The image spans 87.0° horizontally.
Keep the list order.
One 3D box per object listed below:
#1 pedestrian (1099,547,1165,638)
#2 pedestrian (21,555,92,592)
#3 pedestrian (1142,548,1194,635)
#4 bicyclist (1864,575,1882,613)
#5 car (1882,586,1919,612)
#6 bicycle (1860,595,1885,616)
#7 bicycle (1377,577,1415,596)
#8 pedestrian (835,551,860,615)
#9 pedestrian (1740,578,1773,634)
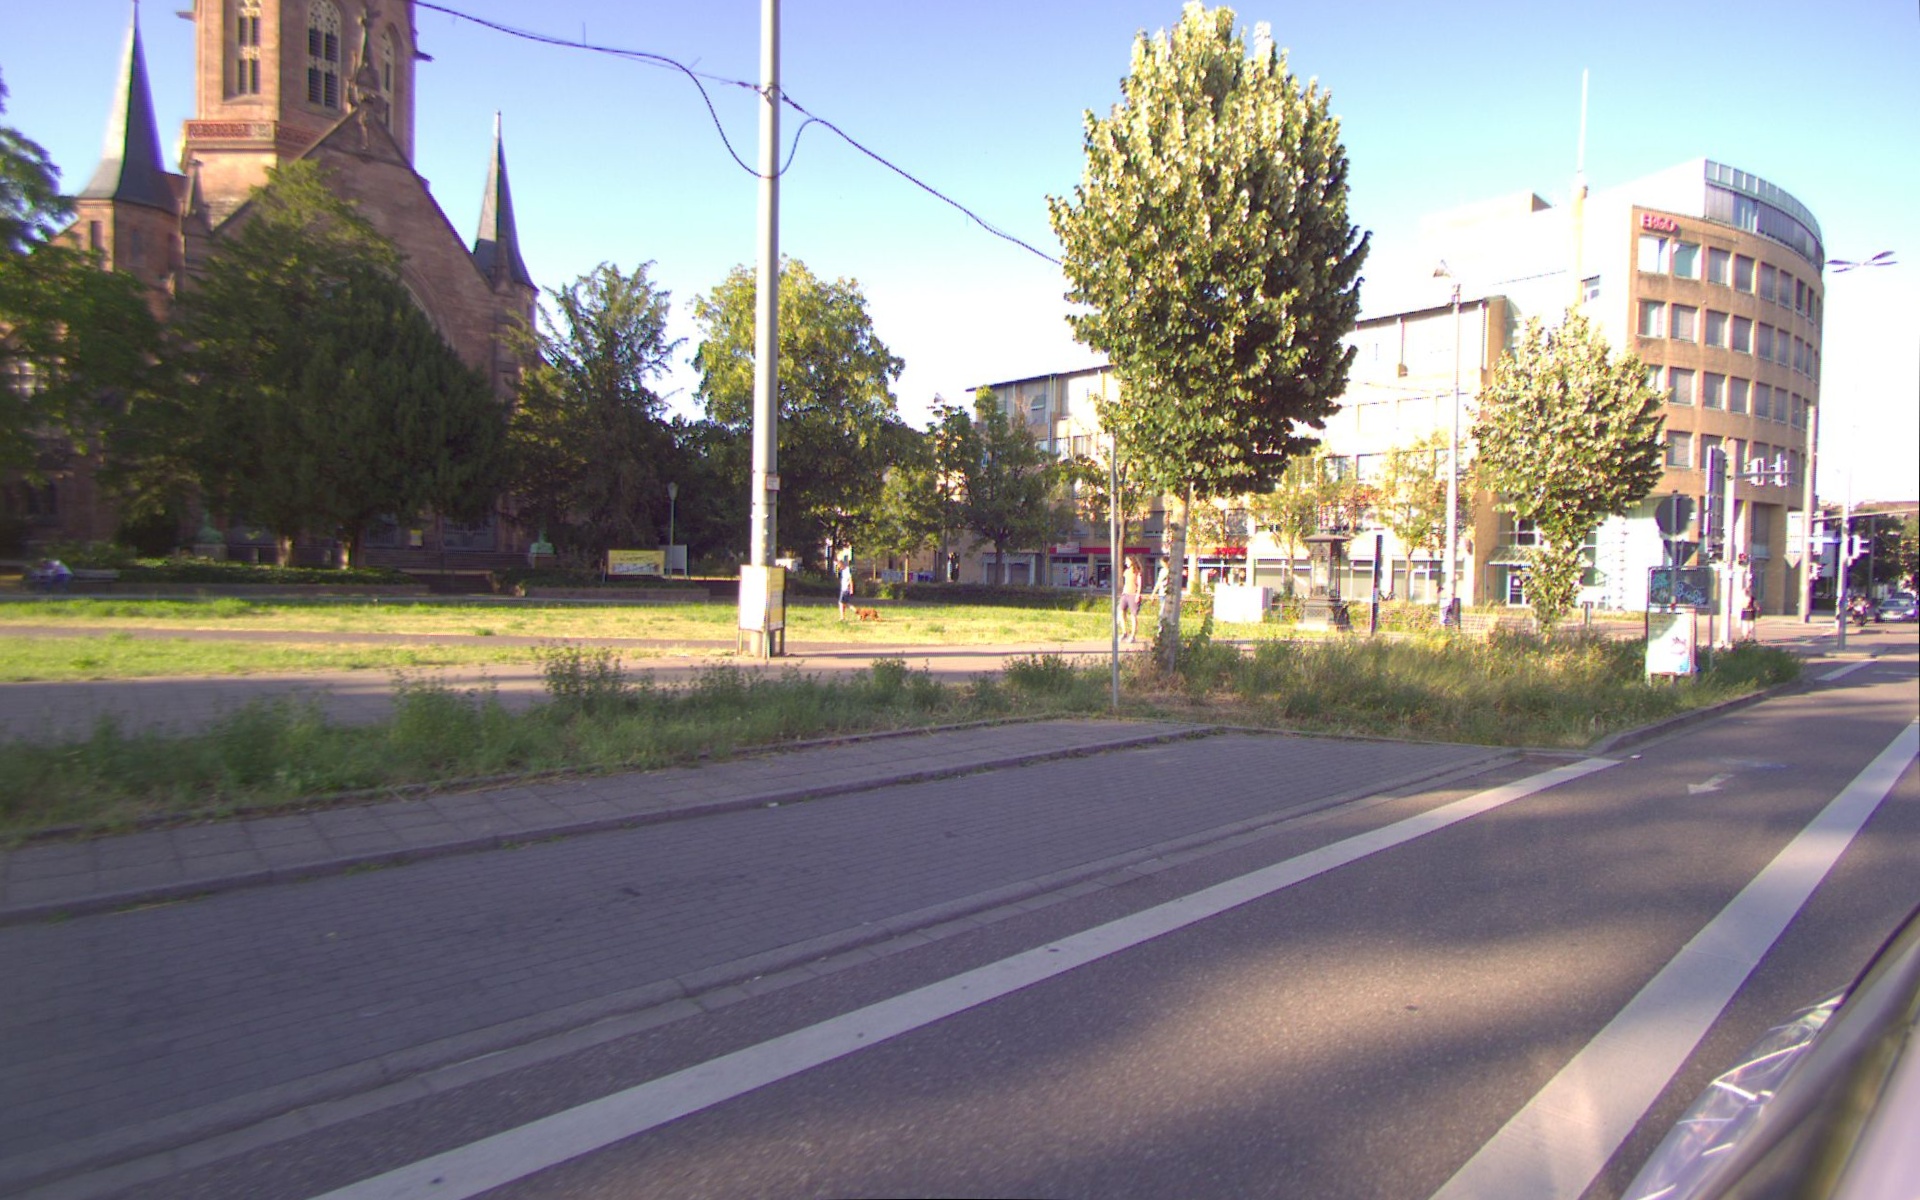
[{"bbox_3d":[3.321,-0.157,19.561,0.899,1.669,0.741,1,4,-38],"label":"pedestrian"},{"bbox_3d":[-25.838,-0.762,28.966,1.258,1.006,1.385,1,2,-31],"label":"pedestrian"},{"bbox_3d":[4.257,-0.177,20.717,0.767,1.709,0.599,1,3,-38],"label":"pedestrian"},{"bbox_3d":[47.554,-0.297,52.722,0.685,1.963,0.577,0,0,-39],"label":"bicyclist"},{"bbox_3d":[56.626,-0.103,60.580,3.946,1.491,1.767,-1,1,-43],"label":"car"},{"bbox_3d":[47.606,0.265,52.770,1.943,1.064,0.700,0,0,-39],"label":"bicycle"},{"bbox_3d":[28.269,-0.870,65.617,2.048,1.253,0.864,-1,0,1],"label":"bicycle"},{"bbox_3d":[-3.120,-0.478,28.114,0.630,1.760,0.597,1,1,-3],"label":"pedestrian"},{"bbox_3d":[25.199,0.180,32.018,0.702,1.746,0.651,0,2,-40],"label":"pedestrian"}]
